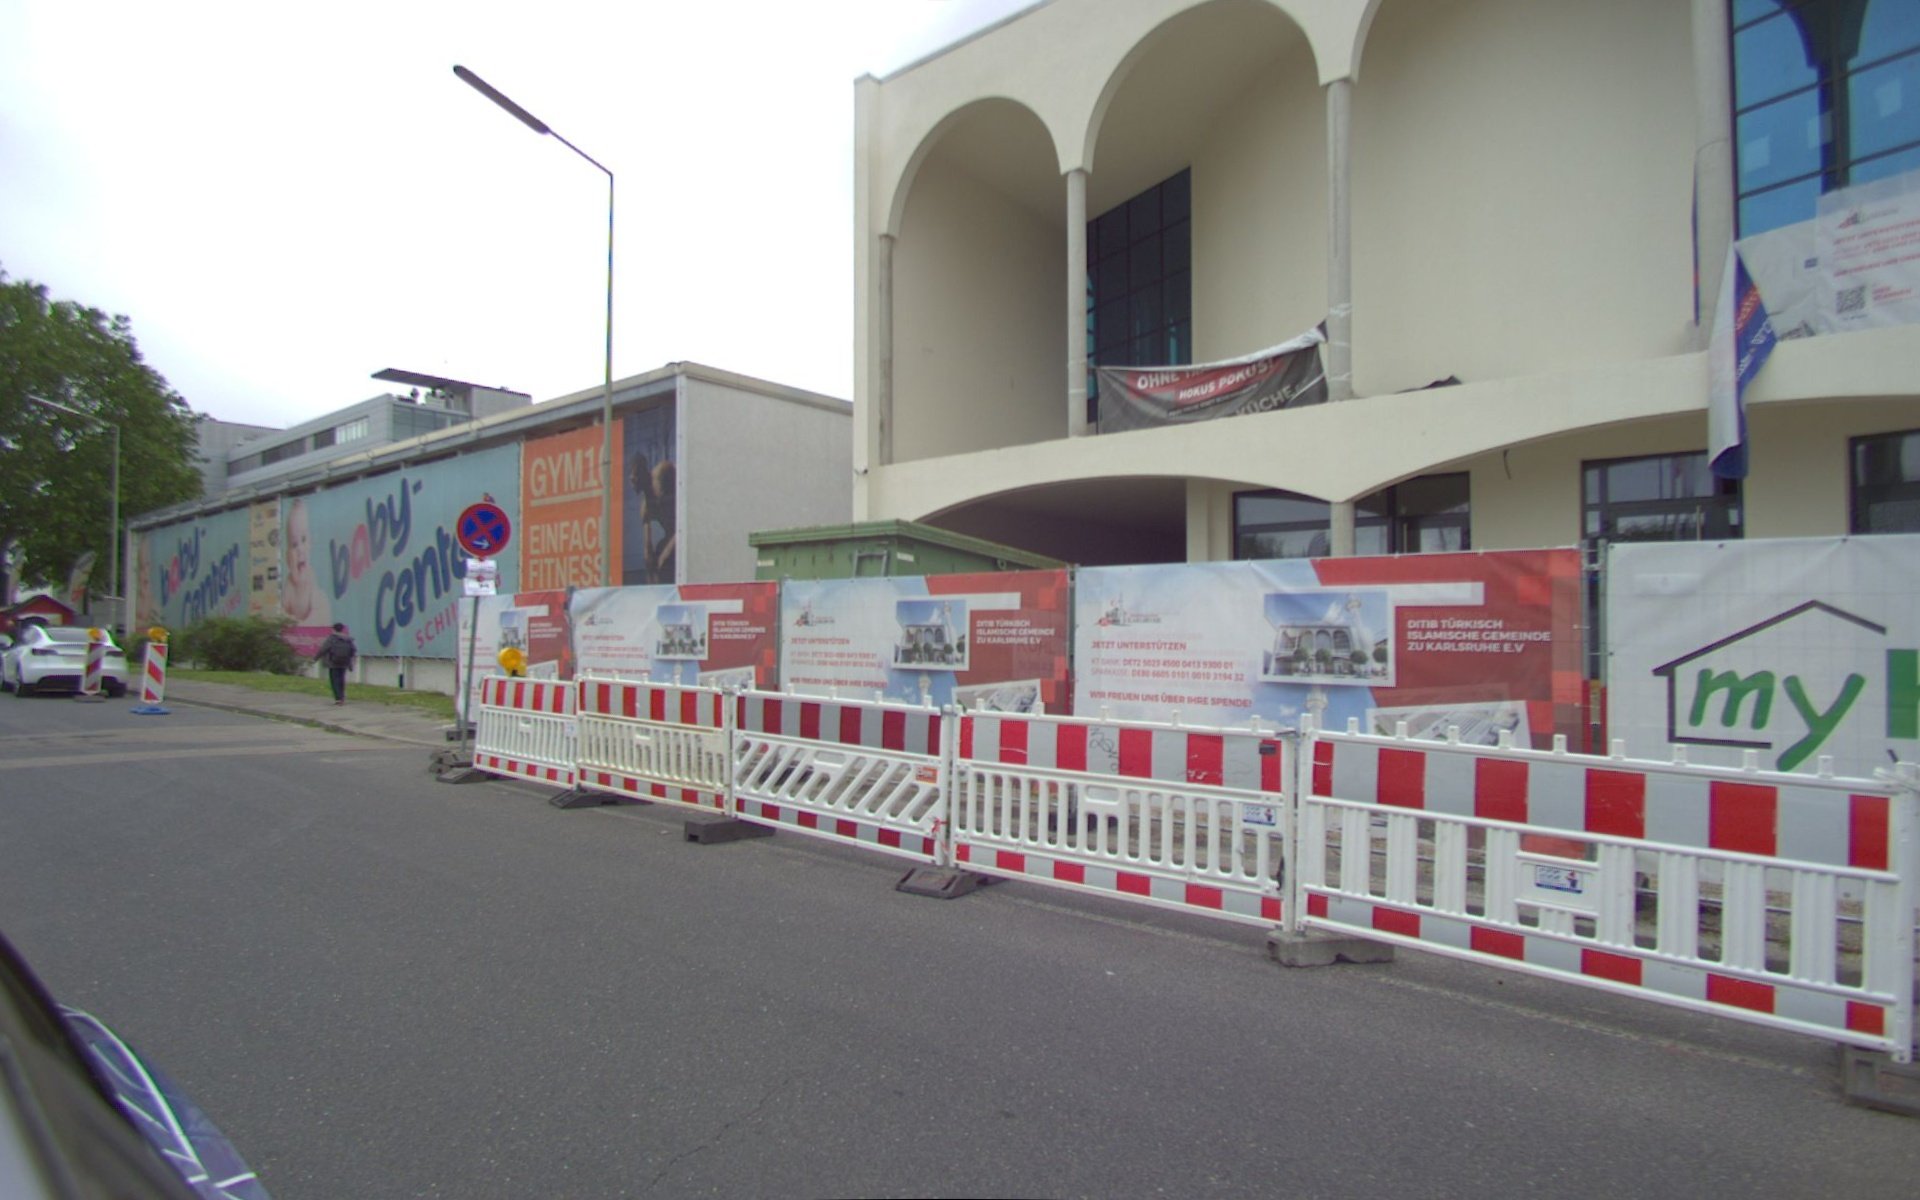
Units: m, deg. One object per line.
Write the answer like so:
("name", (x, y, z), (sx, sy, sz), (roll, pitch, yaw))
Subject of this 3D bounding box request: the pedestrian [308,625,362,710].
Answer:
("pedestrian", (-12.275, 1.309, 19.892), (0.782, 1.591, 0.602), (-1, 0, -44))

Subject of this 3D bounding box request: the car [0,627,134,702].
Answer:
("car", (-20.961, 1.479, 23.526), (4.146, 1.586, 1.904), (-2, -5, 40))

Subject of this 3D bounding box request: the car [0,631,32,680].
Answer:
("car", (-33.029, 1.836, 34.155), (4.146, 1.586, 1.904), (-2, -5, 40))
